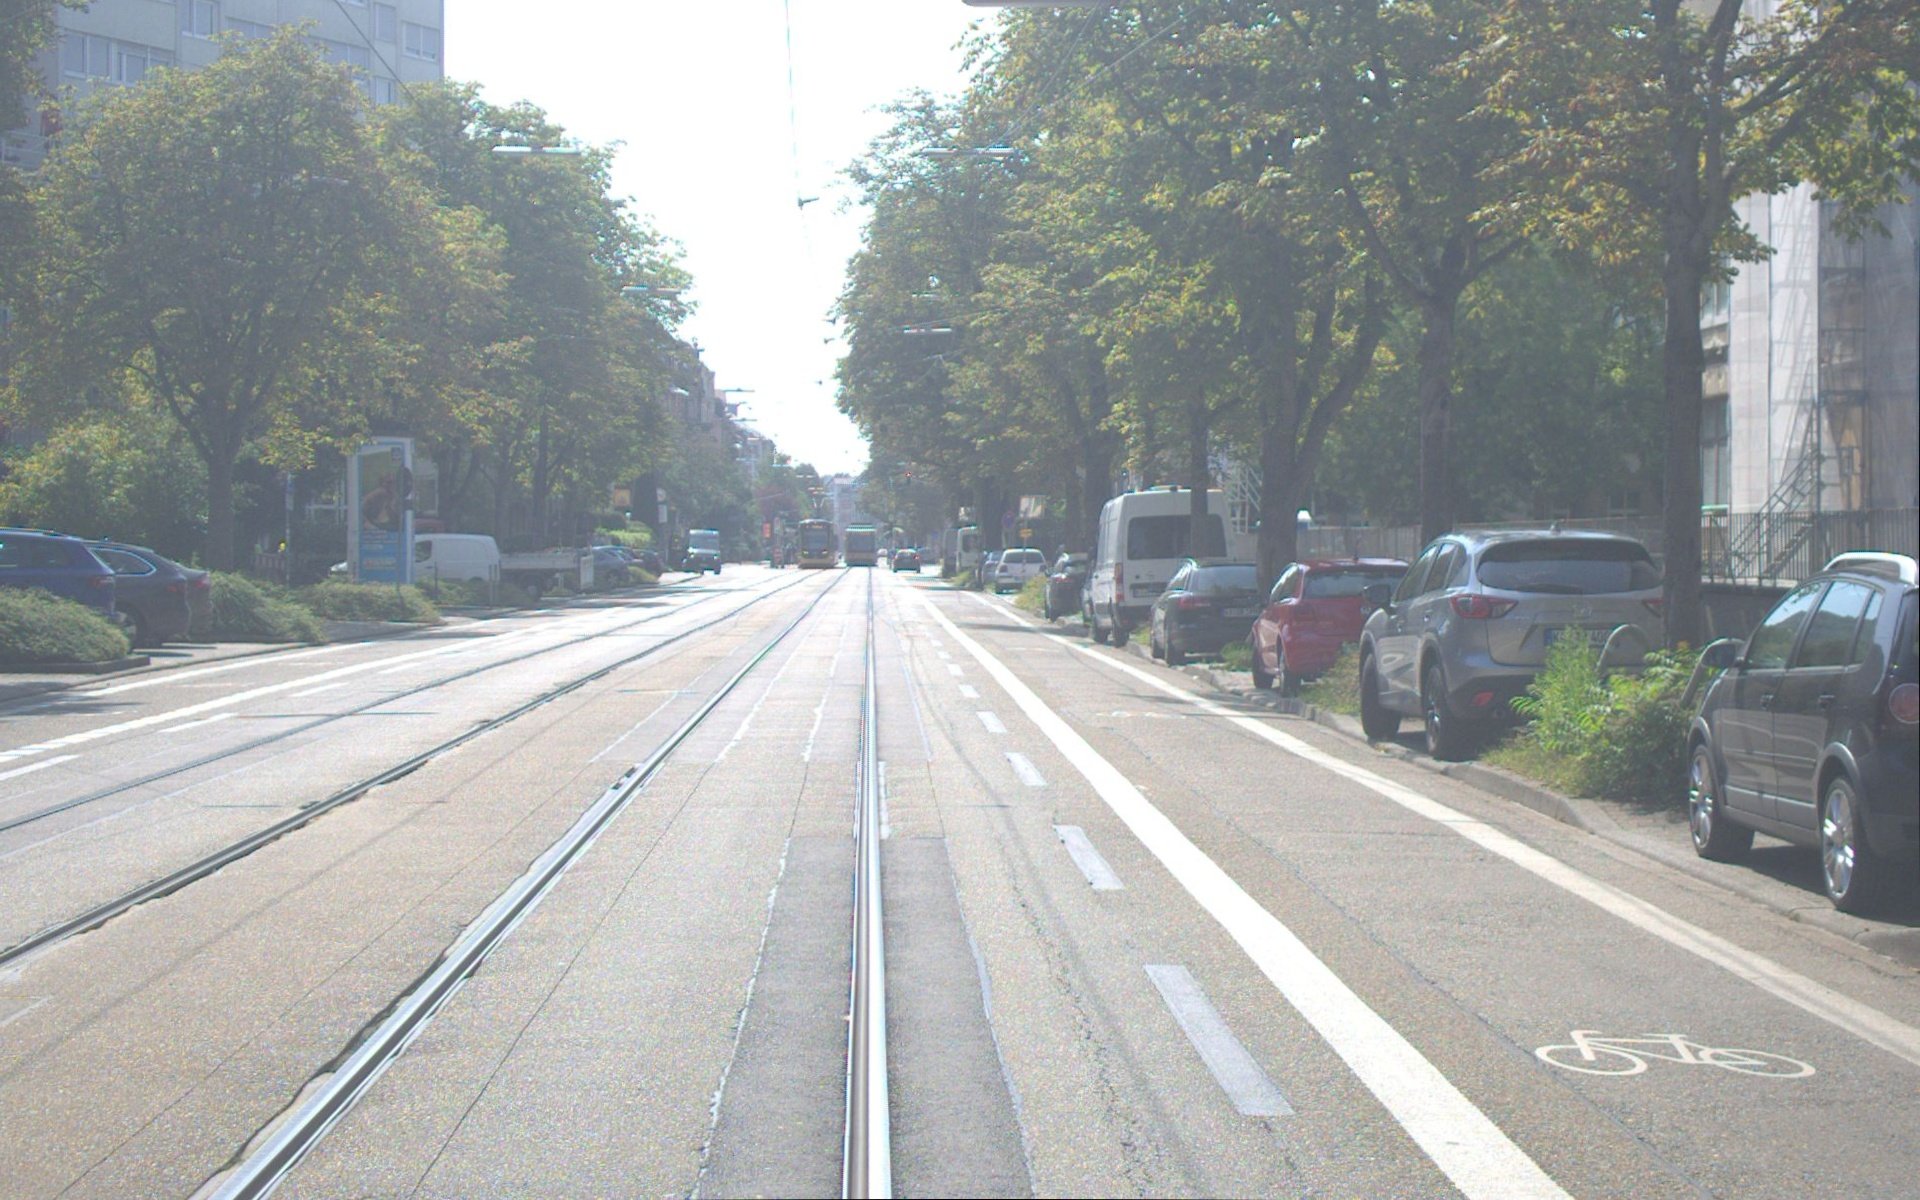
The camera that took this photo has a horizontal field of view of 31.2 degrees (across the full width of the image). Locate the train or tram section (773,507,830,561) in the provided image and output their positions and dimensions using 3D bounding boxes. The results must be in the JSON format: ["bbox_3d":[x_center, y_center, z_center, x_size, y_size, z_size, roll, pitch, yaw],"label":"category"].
[{"bbox_3d":[-11.187,-4.709,243.964,3.497,3.691,12.413,1,1,-1],"label":"train or tram section"}]

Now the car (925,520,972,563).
[{"bbox_3d":[-0.611,-3.046,178.229,1.993,2.226,4.001,0,1,-6],"label":"car"}]

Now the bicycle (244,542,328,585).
[{"bbox_3d":[-19.606,-1.063,99.989,2.340,1.165,0.621,2,1,17],"label":"bicycle"}]

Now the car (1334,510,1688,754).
[{"bbox_3d":[4.103,0.178,26.330,1.762,1.682,4.649,1,1,-2],"label":"car"}]

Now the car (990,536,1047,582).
[{"bbox_3d":[1.879,-1.318,109.882,1.791,1.441,3.733,-1,1,1],"label":"car"}]

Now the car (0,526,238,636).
[{"bbox_3d":[-12.506,-0.276,48.315,4.281,1.492,1.781,0,1,-27],"label":"car"}]

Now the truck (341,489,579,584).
[{"bbox_3d":[-13.121,-1.673,90.514,5.952,2.426,2.150,-1,1,-40],"label":"truck"}]

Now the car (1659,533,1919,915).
[{"bbox_3d":[4.557,0.479,16.105,1.685,1.565,4.000,1,1,-1],"label":"car"}]

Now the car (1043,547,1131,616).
[{"bbox_3d":[2.789,-0.441,76.513,1.674,1.453,4.664,-1,1,-1],"label":"car"}]

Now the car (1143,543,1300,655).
[{"bbox_3d":[3.516,-0.052,46.981,1.685,1.435,4.804,1,1,-1],"label":"car"}]

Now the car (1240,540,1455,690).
[{"bbox_3d":[4.071,0.125,36.668,1.685,1.495,4.132,1,1,-2],"label":"car"}]

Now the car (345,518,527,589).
[{"bbox_3d":[-13.206,-1.180,86.763,4.274,1.766,1.824,-1,1,-44],"label":"car"}]

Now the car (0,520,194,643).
[{"bbox_3d":[-12.215,-0.251,44.876,3.986,1.564,1.781,0,1,-28],"label":"car"}]

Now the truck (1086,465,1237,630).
[{"bbox_3d":[3.297,-0.871,57.190,1.916,2.590,5.593,1,1,-3],"label":"truck"}]

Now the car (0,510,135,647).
[{"bbox_3d":[-12.251,-0.277,41.913,3.986,1.642,1.842,0,1,-24],"label":"car"}]

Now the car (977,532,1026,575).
[{"bbox_3d":[1.468,-1.671,123.443,1.640,1.506,3.641,1,1,-1],"label":"car"}]

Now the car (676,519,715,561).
[{"bbox_3d":[-15.452,-3.498,200.861,2.241,2.433,4.001,1,1,-5],"label":"car"}]

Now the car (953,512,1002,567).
[{"bbox_3d":[0.750,-2.661,151.394,1.993,2.357,4.000,1,1,-1],"label":"car"}]

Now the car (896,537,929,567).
[{"bbox_3d":[-3.021,-3.048,218.245,1.993,1.795,4.000,1,1,-1],"label":"car"}]
